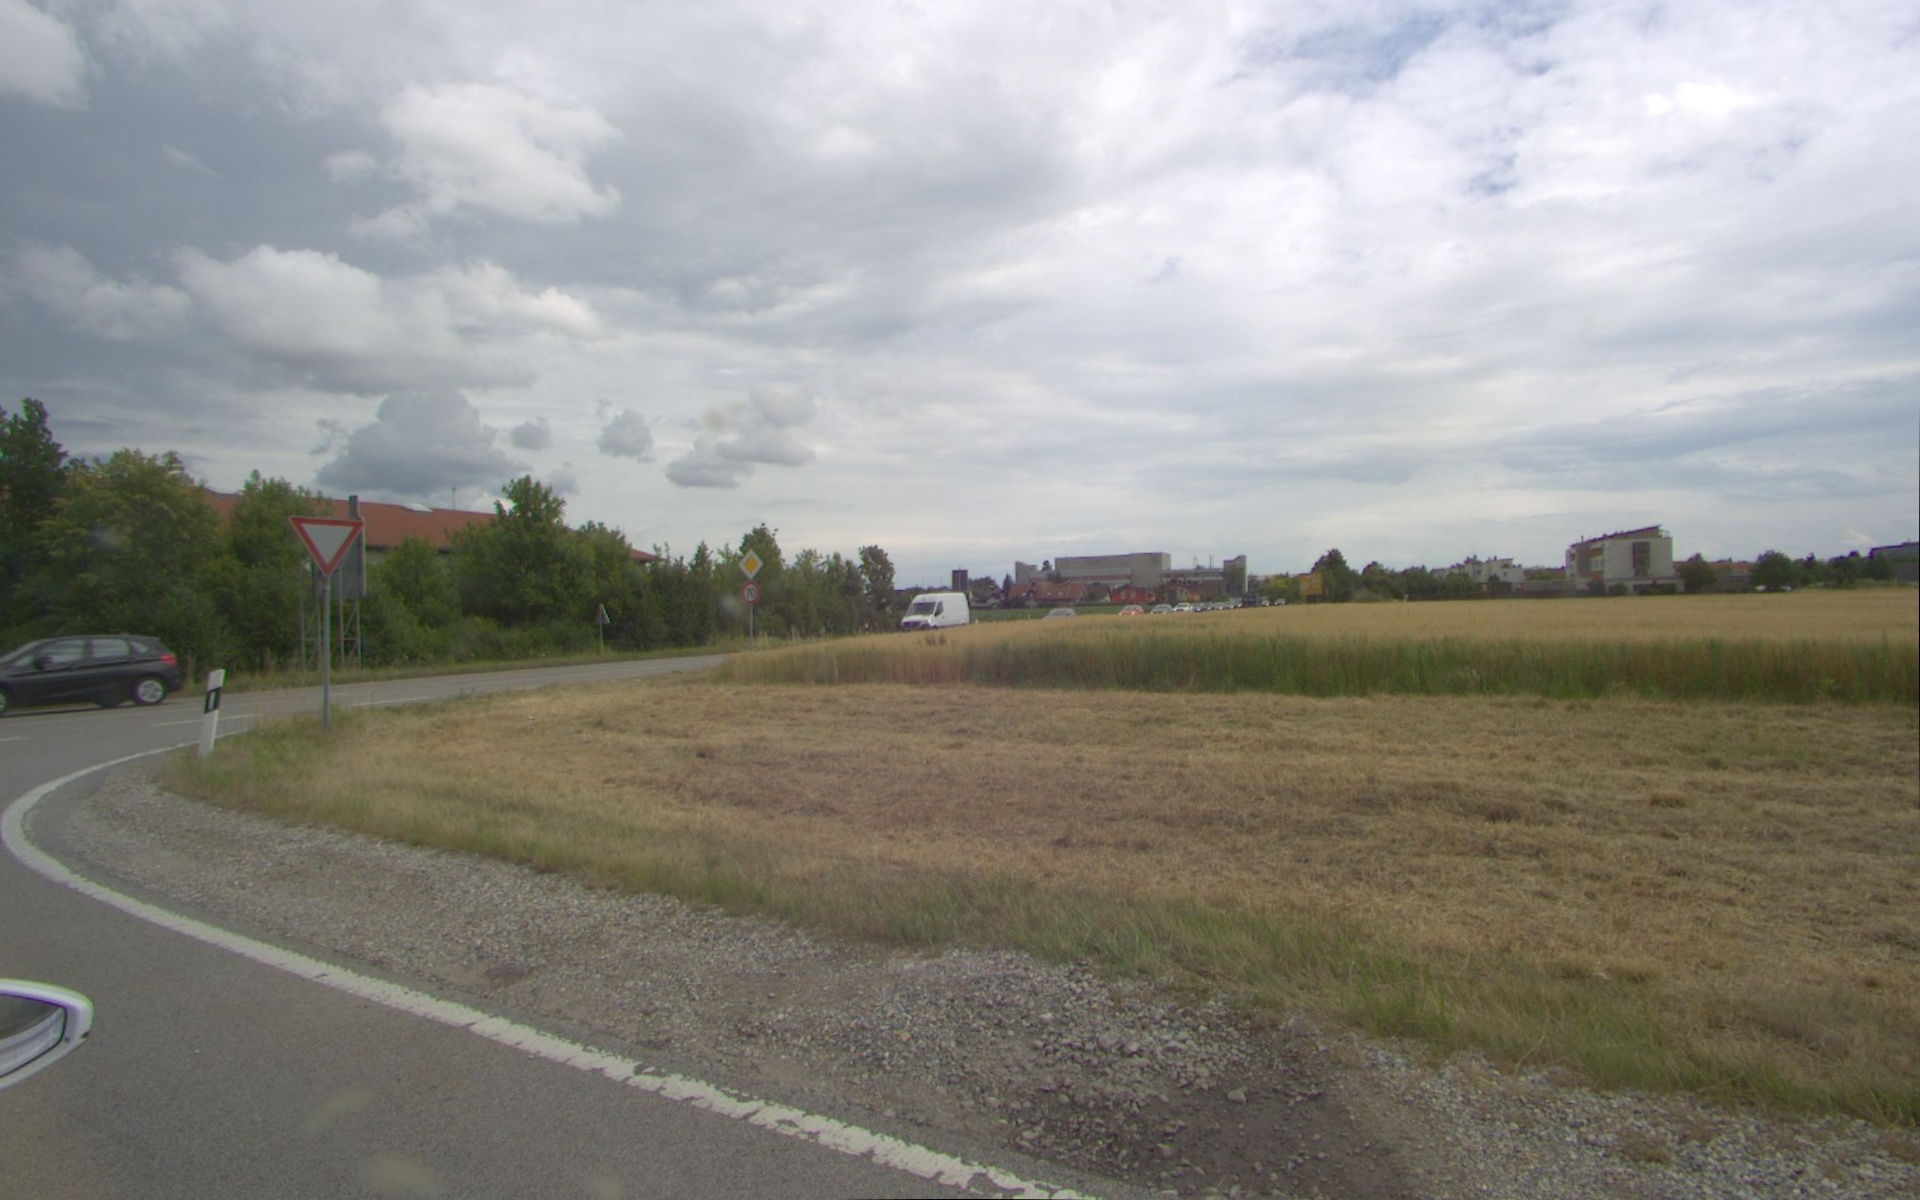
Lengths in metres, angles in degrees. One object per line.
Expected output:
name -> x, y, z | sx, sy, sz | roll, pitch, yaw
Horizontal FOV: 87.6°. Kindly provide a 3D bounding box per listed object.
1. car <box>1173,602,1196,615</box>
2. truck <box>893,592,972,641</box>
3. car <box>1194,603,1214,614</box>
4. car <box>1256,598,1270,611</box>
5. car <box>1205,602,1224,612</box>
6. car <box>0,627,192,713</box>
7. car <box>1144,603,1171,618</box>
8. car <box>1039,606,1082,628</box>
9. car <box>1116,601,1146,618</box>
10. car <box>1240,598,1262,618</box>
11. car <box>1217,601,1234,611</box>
car -> 25.892, 0.959, 115.557 | 1.826, 1.486, 3.987 | -1, 0, 24
truck -> -1.498, 0.921, 57.943 | 1.968, 2.609, 5.995 | -2, -1, 25
car -> 31.317, 1.062, 128.517 | 1.826, 1.287, 3.518 | -1, 0, 24
car -> 53.169, 0.786, 175.776 | 1.967, 2.041, 3.986 | 0, 1, 24
car -> 34.356, 0.954, 135.051 | 1.826, 1.287, 3.518 | -1, 0, 24
car -> -18.698, 1.400, 20.489 | 1.967, 1.507, 4.287 | -2, 0, 24
car -> 20.425, 1.105, 103.369 | 1.826, 1.486, 3.986 | -1, 0, 25
car -> 7.737, 1.276, 76.627 | 1.968, 1.483, 4.146 | -2, 0, 25
car -> 16.158, 0.917, 94.504 | 1.826, 1.486, 3.986 | -1, 0, 25
car -> 40.241, 1.085, 138.301 | 2.115, 2.675, 5.549 | 0, 1, 26
car -> 37.915, 0.855, 143.130 | 1.826, 1.287, 3.518 | -1, 0, 24
